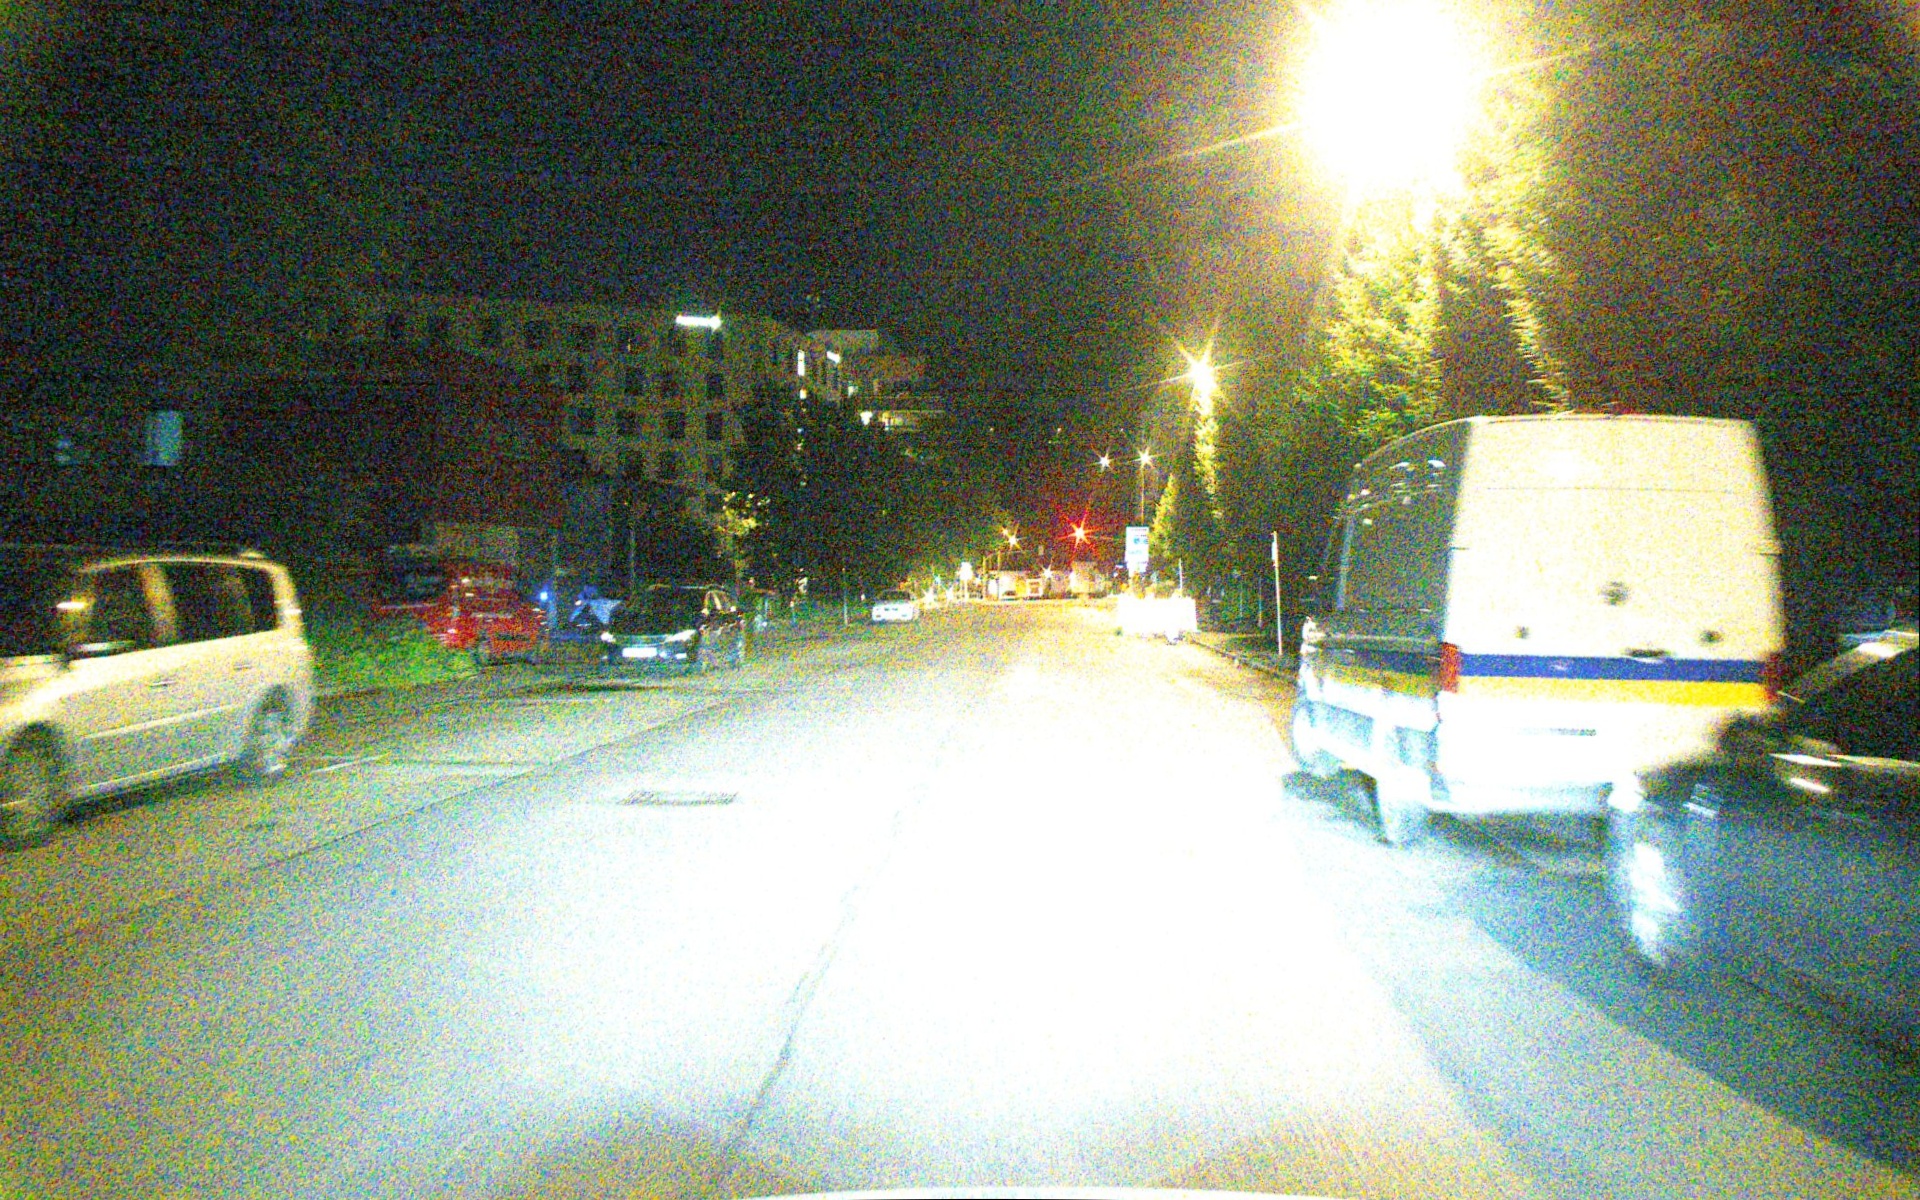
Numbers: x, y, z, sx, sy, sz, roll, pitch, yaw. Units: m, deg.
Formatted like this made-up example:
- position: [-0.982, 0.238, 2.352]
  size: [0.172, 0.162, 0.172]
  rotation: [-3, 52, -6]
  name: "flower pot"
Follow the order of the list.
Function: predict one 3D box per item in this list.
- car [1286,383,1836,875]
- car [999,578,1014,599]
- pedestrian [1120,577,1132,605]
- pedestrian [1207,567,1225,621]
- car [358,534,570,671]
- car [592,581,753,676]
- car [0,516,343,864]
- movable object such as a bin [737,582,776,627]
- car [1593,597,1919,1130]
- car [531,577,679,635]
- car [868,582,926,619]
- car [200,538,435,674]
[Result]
- position: [3.767, 0.118, 11.771]
  size: [1.978, 2.570, 6.054]
  rotation: [1, 1, 3]
  name: "car"
- position: [7.021, -1.739, 249.440]
  size: [1.953, 3.026, 3.999]
  rotation: [0, 0, -1]
  name: "car"
- position: [12.278, -0.653, 122.301]
  size: [0.724, 2.016, 0.623]
  rotation: [0, 0, -13]
  name: "pedestrian"
- position: [9.002, -0.203, 58.146]
  size: [0.558, 1.885, 0.820]
  rotation: [0, 0, 4]
  name: "pedestrian"
- position: [-9.359, 0.015, 31.693]
  size: [1.951, 2.362, 4.971]
  rotation: [-2, 0, 7]
  name: "car"
- position: [-4.972, 0.453, 29.204]
  size: [1.718, 1.553, 4.325]
  rotation: [0, 0, 5]
  name: "car"
- position: [-5.915, 0.470, 10.773]
  size: [1.791, 1.848, 4.840]
  rotation: [-1, 1, 2]
  name: "car"
- position: [-6.941, 0.147, 56.486]
  size: [1.140, 1.522, 1.066]
  rotation: [-1, 0, 1]
  name: "movable object such as a bin"
- position: [3.643, 0.780, 4.974]
  size: [1.676, 1.534, 4.640]
  rotation: [0, 1, 0]
  name: "car"
- position: [-10.475, 0.171, 49.025]
  size: [3.903, 1.598, 1.818]
  rotation: [-1, 0, 3]
  name: "car"
- position: [-2.581, 0.002, 68.813]
  size: [1.871, 1.428, 4.340]
  rotation: [-1, 1, 4]
  name: "car"
- position: [-12.045, 0.078, 31.403]
  size: [2.160, 2.362, 4.628]
  rotation: [-1, 1, 7]
  name: "car"
